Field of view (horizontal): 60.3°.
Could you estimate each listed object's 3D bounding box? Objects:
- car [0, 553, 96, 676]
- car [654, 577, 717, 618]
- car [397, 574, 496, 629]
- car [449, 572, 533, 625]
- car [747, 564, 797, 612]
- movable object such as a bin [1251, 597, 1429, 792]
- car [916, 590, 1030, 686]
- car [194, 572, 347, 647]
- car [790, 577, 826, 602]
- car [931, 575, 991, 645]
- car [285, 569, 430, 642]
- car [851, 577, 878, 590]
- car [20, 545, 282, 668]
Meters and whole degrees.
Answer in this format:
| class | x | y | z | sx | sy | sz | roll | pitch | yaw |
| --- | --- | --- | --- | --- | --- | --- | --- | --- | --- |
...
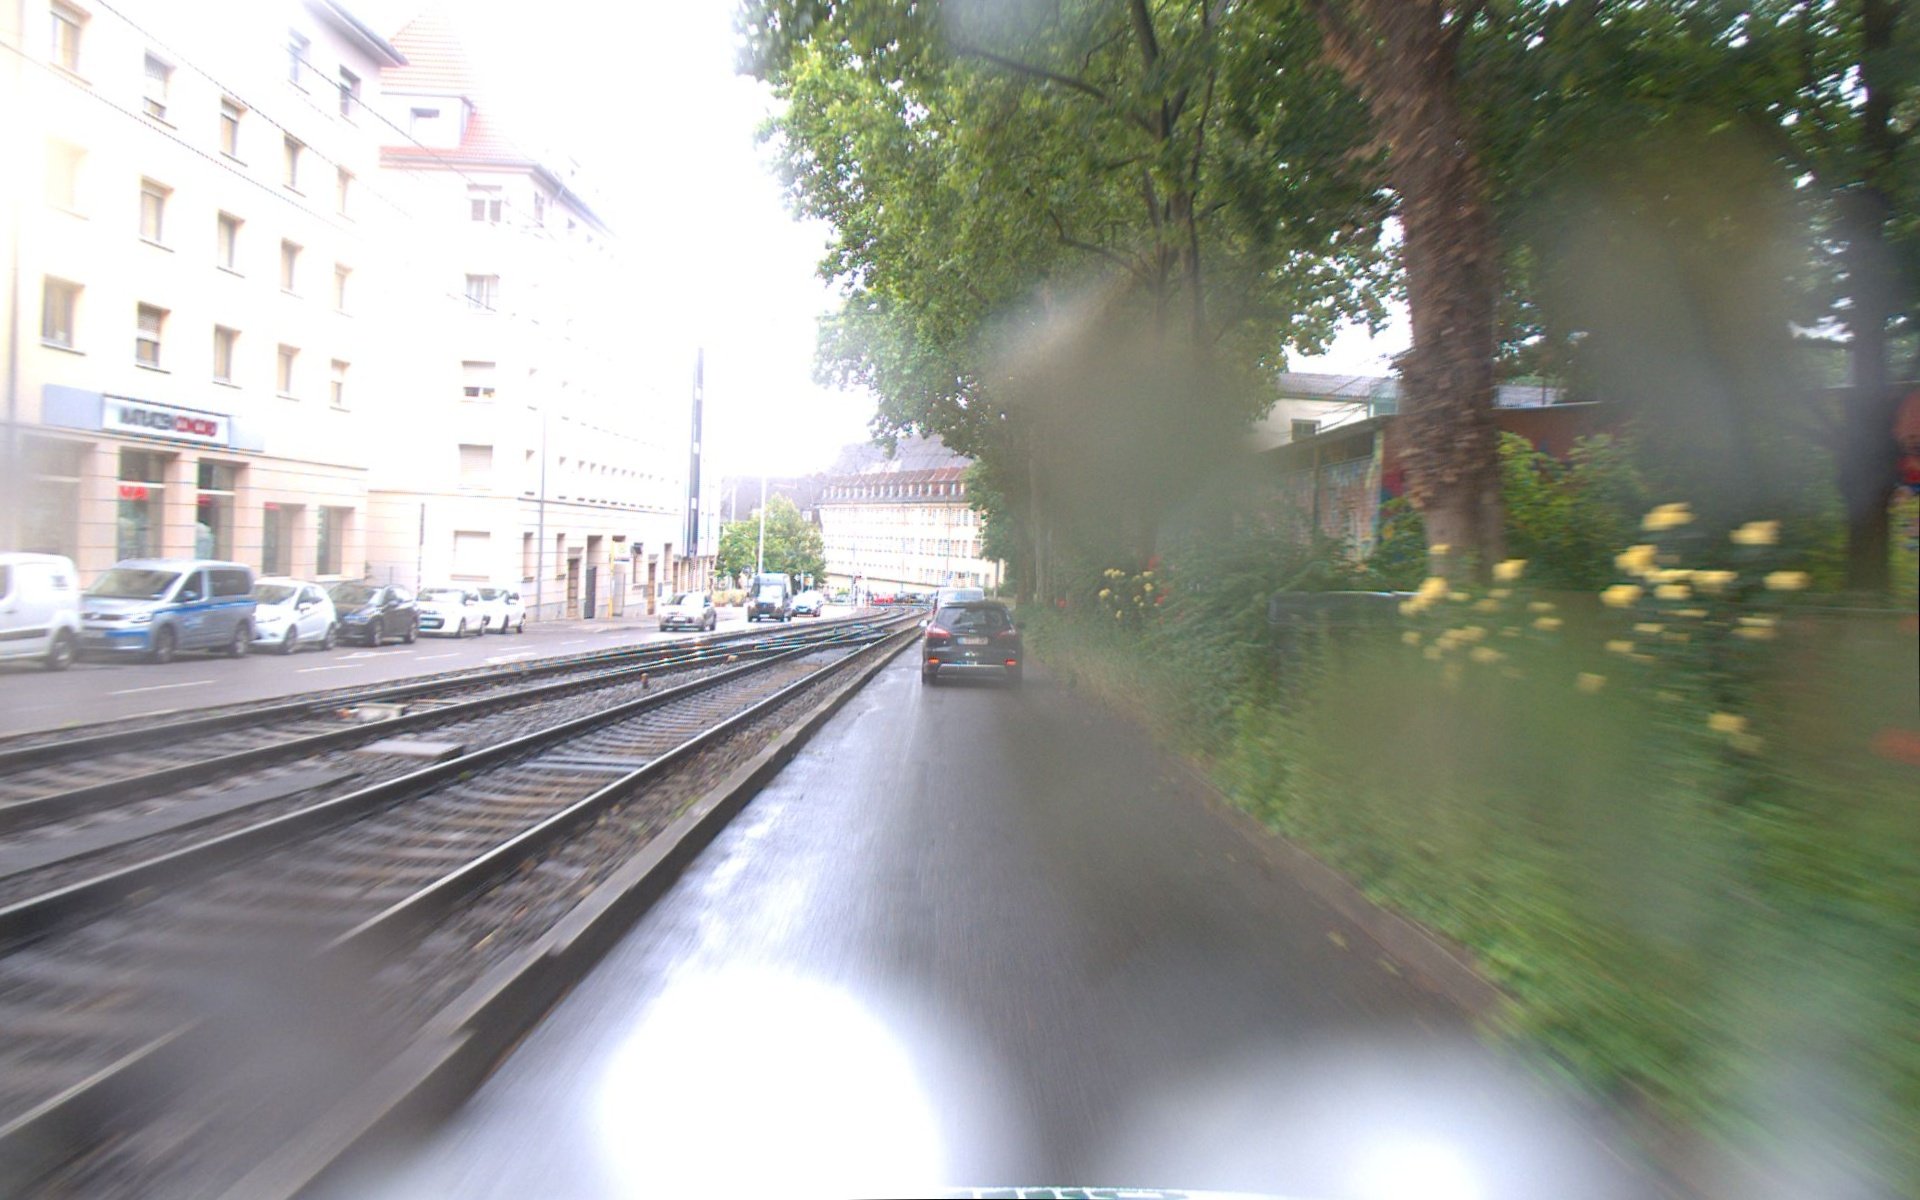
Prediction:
| class | x | y | z | sx | sy | sz | roll | pitch | yaw |
| --- | --- | --- | --- | --- | --- | --- | --- | --- | --- |
| car | -14.776 | 0.187 | 24.164 | 1.828 | 1.746 | 4.461 | 2 | 1 | 1 |
| car | -10.827 | -0.133 | 65.449 | 1.676 | 1.487 | 4.281 | 2 | 1 | 1 |
| car | -14.825 | 0.013 | 47.899 | 1.669 | 1.421 | 3.935 | 3 | 1 | -2 |
| car | -14.876 | -0.065 | 52.603 | 1.674 | 1.474 | 3.540 | 4 | 1 | -2 |
| car | -10.338 | -0.650 | 91.435 | 1.953 | 2.494 | 5.999 | 2 | 1 | 0 |
| movable object such as a bin | 3.196 | 0.749 | 13.846 | 1.371 | 1.478 | 1.217 | 1 | 2 | 16 |
| car | 0.181 | 0.642 | 30.407 | 1.894 | 1.478 | 4.317 | 3 | 1 | -1 |
| car | -14.652 | 0.155 | 35.374 | 1.657 | 1.464 | 4.048 | -2 | 1 | -2 |
| car | -10.032 | -0.707 | 109.533 | 1.841 | 1.511 | 4.855 | 2 | 2 | 0 |
| car | -0.004 | 0.282 | 52.651 | 1.705 | 2.048 | 3.903 | 2 | 1 | -2 |
| car | -14.580 | 0.087 | 40.295 | 1.776 | 1.524 | 4.583 | 3 | 2 | 0 |
| car | -12.044 | -2.060 | 207.761 | 1.970 | 1.569 | 3.966 | 0 | 2 | -26 |
| car | -14.633 | 0.049 | 30.351 | 1.953 | 1.937 | 5.461 | 4 | 1 | 1 |
